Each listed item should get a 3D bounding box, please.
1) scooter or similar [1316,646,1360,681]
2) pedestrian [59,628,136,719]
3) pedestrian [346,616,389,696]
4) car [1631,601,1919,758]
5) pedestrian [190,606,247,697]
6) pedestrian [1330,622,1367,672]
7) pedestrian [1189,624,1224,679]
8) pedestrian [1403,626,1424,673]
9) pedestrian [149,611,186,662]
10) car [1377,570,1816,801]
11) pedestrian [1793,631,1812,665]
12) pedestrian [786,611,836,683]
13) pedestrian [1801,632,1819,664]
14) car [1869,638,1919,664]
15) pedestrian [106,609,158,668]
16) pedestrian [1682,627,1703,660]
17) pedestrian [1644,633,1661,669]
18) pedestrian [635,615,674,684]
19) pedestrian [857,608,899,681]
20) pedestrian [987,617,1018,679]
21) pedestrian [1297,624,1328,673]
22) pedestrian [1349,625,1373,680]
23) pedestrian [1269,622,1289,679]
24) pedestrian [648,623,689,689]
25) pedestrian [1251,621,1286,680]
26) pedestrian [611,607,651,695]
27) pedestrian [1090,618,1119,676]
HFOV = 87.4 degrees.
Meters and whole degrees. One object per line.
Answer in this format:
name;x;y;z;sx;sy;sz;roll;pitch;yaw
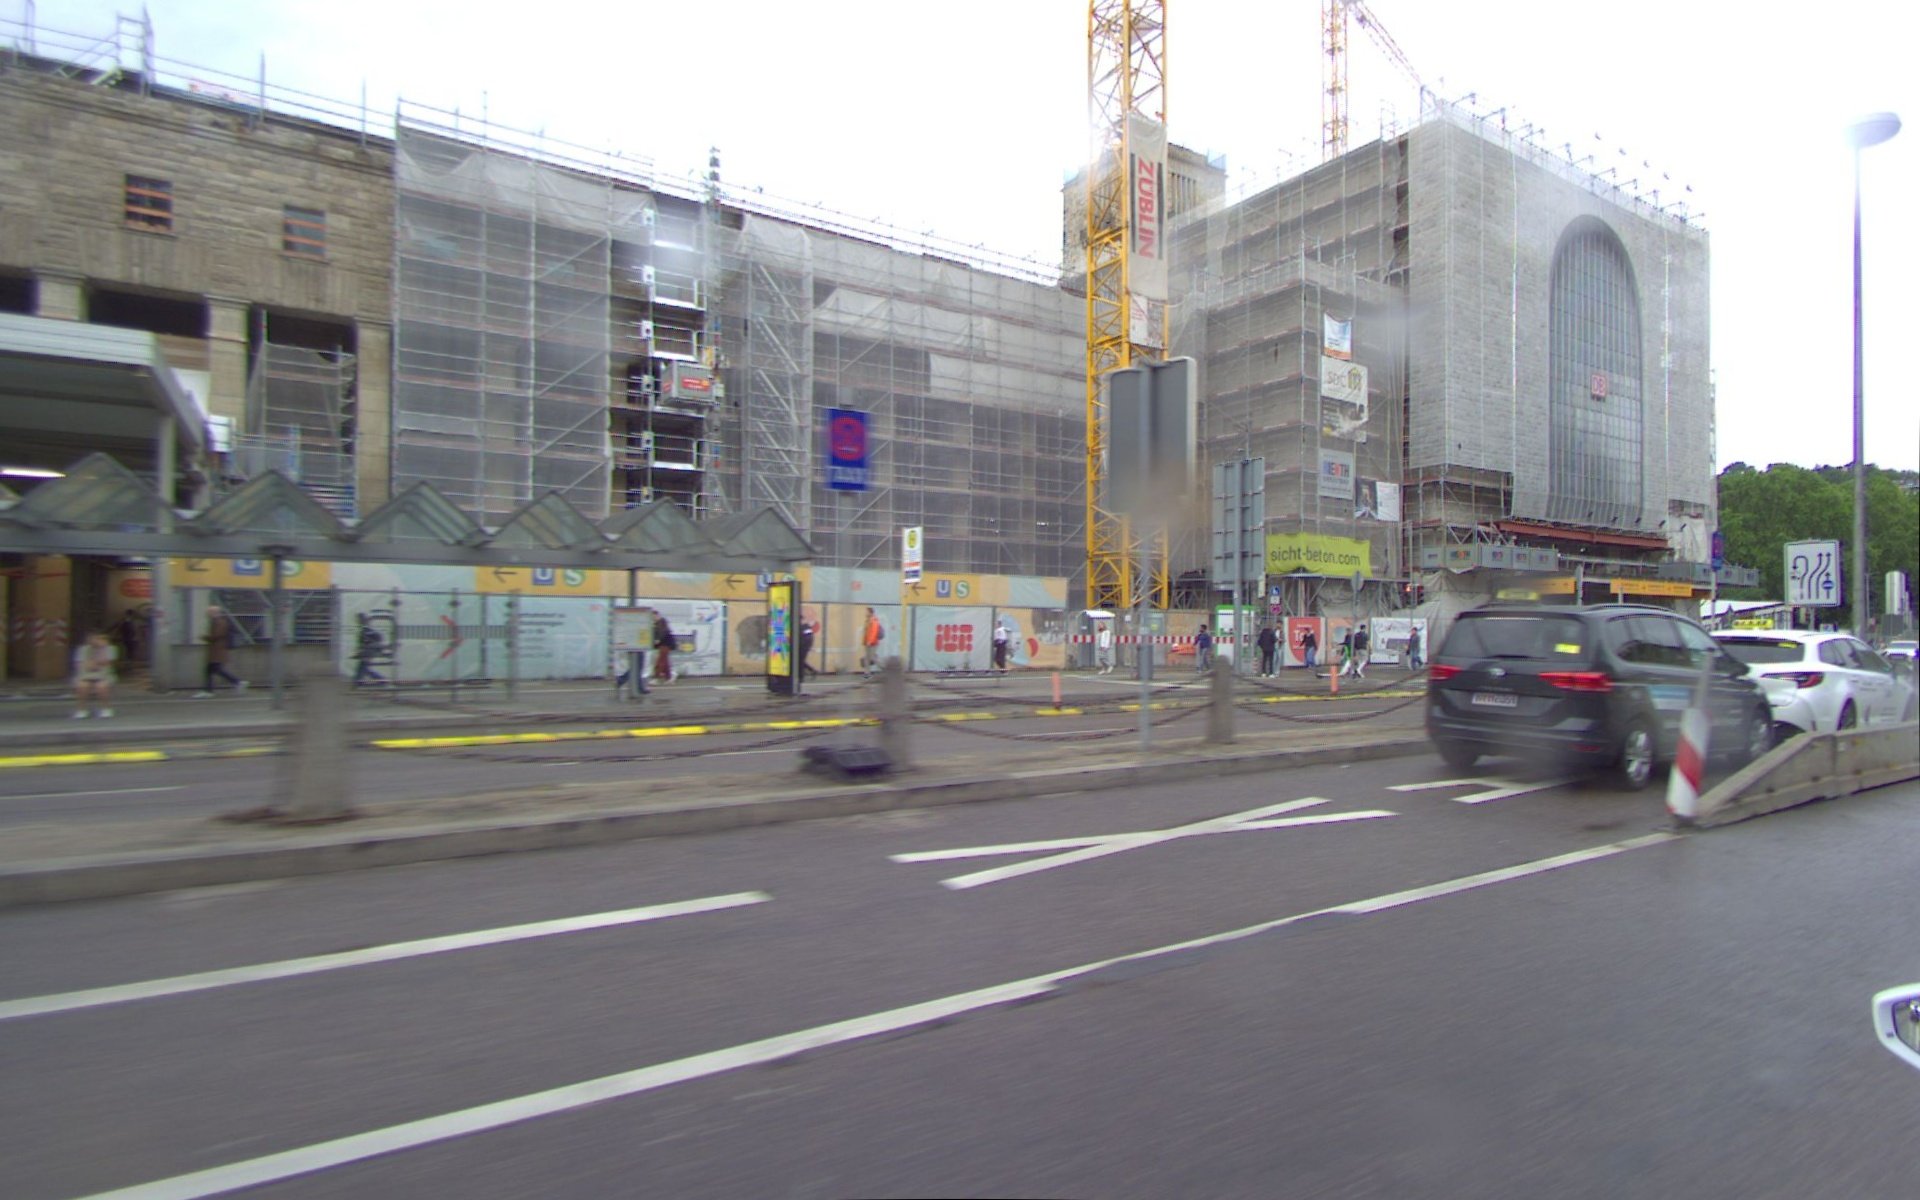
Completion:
scooter or similar;12.095;2.027;32.165;1.215;1.080;0.460;1;-1;2
pedestrian;-13.264;1.109;15.467;0.797;1.343;0.695;1;-1;-34
pedestrian;-12.353;1.148;20.941;0.694;1.629;0.798;1;-1;-34
car;10.978;0.954;13.249;4.784;1.728;1.981;2;-2;-35
pedestrian;-14.495;0.983;19.656;0.828;1.722;0.872;1;-1;-34
pedestrian;14.944;1.791;38.621;1.045;1.865;0.835;1;-1;-30
pedestrian;8.654;1.798;35.276;0.858;1.865;0.799;1;-1;-29
pedestrian;18.222;1.978;40.335;0.564;1.865;0.700;1;-1;43
pedestrian;-25.423;1.163;32.223;0.824;1.604;0.892;2;-2;-35
car;6.654;0.778;10.348;4.779;1.887;1.983;2;-2;-32
pedestrian;46.953;2.680;55.972;0.768;1.865;0.634;1;-1;-36
pedestrian;-3.992;1.249;26.929;1.034;1.865;0.852;2;1;-33
pedestrian;50.115;2.820;59.241;0.523;1.865;0.693;1;-1;-35
car;58.240;3.147;62.199;3.958;1.487;1.982;2;-1;-34
pedestrian;-24.678;1.135;29.949;1.017;1.718;1.022;2;-2;-32
pedestrian;42.126;2.511;57.772;0.763;1.865;0.774;1;-1;-34
pedestrian;36.941;2.720;53.583;0.764;1.865;0.532;1;-1;-34
pedestrian;-7.675;1.225;25.231;0.695;1.693;0.796;1;-1;-38
pedestrian;-2.297;1.239;28.221;0.856;1.965;0.737;1;1;-37
pedestrian;1.302;1.452;30.700;0.648;1.865;0.739;1;-1;-29
pedestrian;13.884;1.897;39.585;0.840;1.865;0.799;1;-1;-29
pedestrian;13.966;1.822;34.973;0.698;1.865;0.503;1;-1;-39
pedestrian;10.482;1.656;32.960;0.501;1.865;0.338;1;-1;-18
pedestrian;-7.142;1.351;24.590;0.695;1.568;0.796;1;-1;-38
pedestrian;9.904;1.622;32.254;0.861;1.865;0.704;1;-1;-4
pedestrian;-7.044;1.081;21.534;0.689;1.865;0.745;1;-1;-13
pedestrian;4.739;1.533;32.994;0.604;1.865;0.718;1;-1;-29
